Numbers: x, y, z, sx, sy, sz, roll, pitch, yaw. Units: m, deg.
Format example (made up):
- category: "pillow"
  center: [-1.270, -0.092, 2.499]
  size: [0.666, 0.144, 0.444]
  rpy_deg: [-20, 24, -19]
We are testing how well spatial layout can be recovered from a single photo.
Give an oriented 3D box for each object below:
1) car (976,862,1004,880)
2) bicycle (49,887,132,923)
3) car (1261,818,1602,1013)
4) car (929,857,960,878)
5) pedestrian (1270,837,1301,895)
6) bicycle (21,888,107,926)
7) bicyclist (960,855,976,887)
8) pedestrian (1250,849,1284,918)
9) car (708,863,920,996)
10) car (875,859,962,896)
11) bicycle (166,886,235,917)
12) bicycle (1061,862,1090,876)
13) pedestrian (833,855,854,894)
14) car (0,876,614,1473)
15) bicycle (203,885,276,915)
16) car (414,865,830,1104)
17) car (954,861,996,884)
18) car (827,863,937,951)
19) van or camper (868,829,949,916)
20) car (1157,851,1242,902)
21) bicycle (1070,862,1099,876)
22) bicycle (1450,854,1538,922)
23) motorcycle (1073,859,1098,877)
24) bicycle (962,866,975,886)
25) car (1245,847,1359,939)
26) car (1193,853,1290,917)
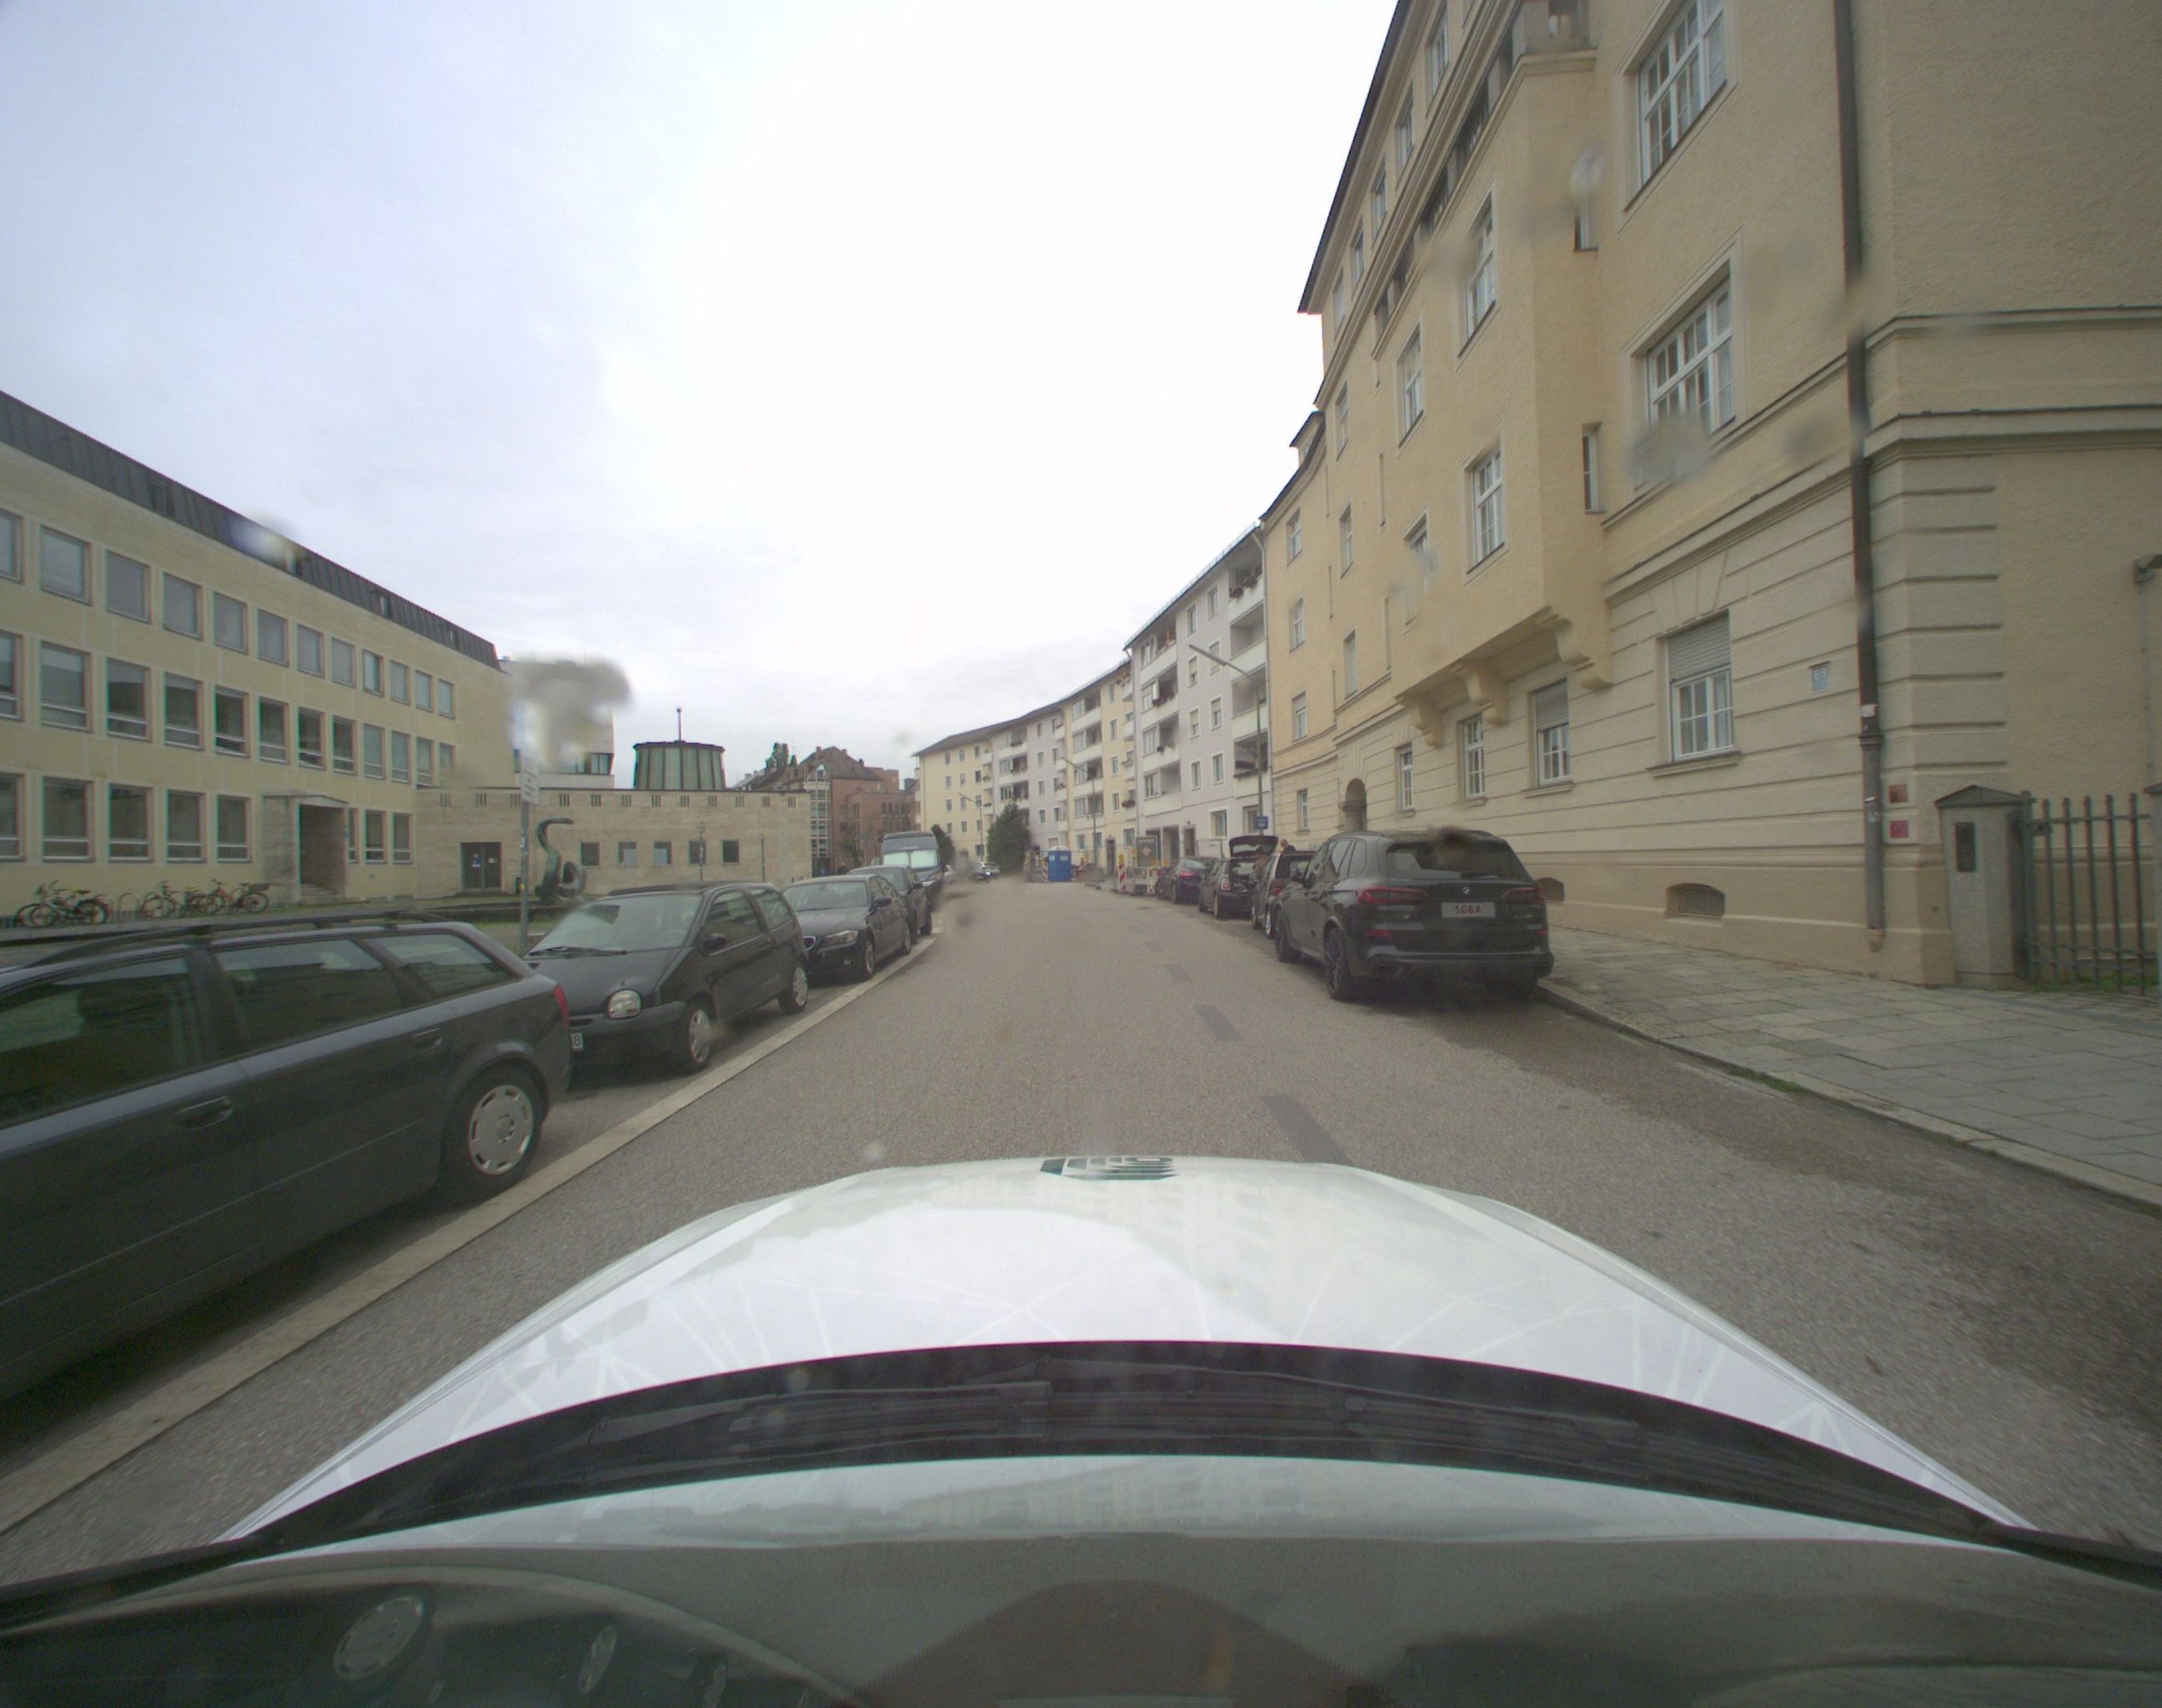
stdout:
- category: "car"
  center: [-8.181, 1.491, 73.005]
  size: [1.834, 1.574, 3.978]
  rpy_deg: [-1, -1, -16]
- category: "bicycle"
  center: [-27.404, 1.404, 22.551]
  size: [1.473, 0.945, 0.412]
  rpy_deg: [0, -1, -15]
- category: "car"
  center: [3.709, 0.549, 9.854]
  size: [2.161, 1.739, 5.027]
  rpy_deg: [-1, 0, 3]
- category: "car"
  center: [-13.601, 1.377, 80.854]
  size: [1.792, 1.976, 3.684]
  rpy_deg: [-3, 0, -30]
- category: "pedestrian"
  center: [6.215, 0.354, 24.767]
  size: [0.615, 1.690, 0.919]
  rpy_deg: [-5, -1, 2]
- category: "bicycle"
  center: [-27.149, 1.405, 21.759]
  size: [1.473, 0.945, 0.412]
  rpy_deg: [0, -1, -15]
- category: "bicyclist"
  center: [-6.595, 0.989, 47.567]
  size: [0.745, 1.771, 0.812]
  rpy_deg: [-4, 0, -11]
- category: "pedestrian"
  center: [4.179, 0.649, 18.314]
  size: [0.626, 1.528, 0.578]
  rpy_deg: [-1, 0, 1]
- category: "car"
  center: [-3.700, 0.945, 12.202]
  size: [1.770, 1.465, 4.462]
  rpy_deg: [-4, 0, -2]
- category: "car"
  center: [-7.888, 1.149, 39.804]
  size: [1.692, 1.507, 3.833]
  rpy_deg: [-4, 0, 42]
- category: "bicycle"
  center: [-27.775, 1.489, 25.706]
  size: [1.473, 0.945, 0.412]
  rpy_deg: [0, -1, -15]
- category: "bicycle"
  center: [-0.467, 1.274, 68.222]
  size: [2.241, 1.069, 0.913]
  rpy_deg: [-1, -1, -22]
- category: "pedestrian"
  center: [-11.666, 1.005, 40.023]
  size: [0.846, 1.866, 0.708]
  rpy_deg: [-1, -1, -26]
- category: "car"
  center: [-3.667, 0.921, 2.687]
  size: [1.625, 1.494, 4.276]
  rpy_deg: [-3, 0, 1]
- category: "bicycle"
  center: [-27.983, 1.529, 27.110]
  size: [1.709, 0.945, 0.412]
  rpy_deg: [0, -1, -15]
- category: "car"
  center: [-3.727, 0.924, 7.430]
  size: [1.625, 1.494, 3.604]
  rpy_deg: [-4, 0, 0]
- category: "car"
  center: [-7.288, 1.283, 55.807]
  size: [1.926, 1.412, 4.674]
  rpy_deg: [-4, 0, -18]
- category: "car"
  center: [-3.903, 0.983, 16.361]
  size: [1.515, 1.465, 2.884]
  rpy_deg: [-4, 0, -3]
- category: "van or camper"
  center: [-5.639, 0.528, 27.383]
  size: [2.296, 2.581, 6.066]
  rpy_deg: [-1, 0, -9]
- category: "car"
  center: [3.720, 0.657, 26.413]
  size: [1.903, 1.477, 4.943]
  rpy_deg: [-1, 0, -2]
- category: "bicycle"
  center: [0.299, 1.257, 66.897]
  size: [2.241, 1.069, 0.913]
  rpy_deg: [-1, -1, -22]
- category: "bicycle"
  center: [7.155, 0.552, 14.230]
  size: [0.499, 1.049, 2.140]
  rpy_deg: [-4, 0, 4]
- category: "motorcycle"
  center: [0.326, 1.008, 58.868]
  size: [0.935, 1.221, 2.489]
  rpy_deg: [-1, -1, -21]
- category: "bicycle"
  center: [-6.582, 1.261, 47.551]
  size: [0.586, 1.069, 1.929]
  rpy_deg: [-4, 0, -12]
- category: "car"
  center: [4.084, 0.669, 15.453]
  size: [1.507, 1.555, 3.022]
  rpy_deg: [-1, 0, 3]
- category: "car"
  center: [3.839, 0.685, 20.071]
  size: [1.626, 1.417, 3.678]
  rpy_deg: [-1, 0, -1]
